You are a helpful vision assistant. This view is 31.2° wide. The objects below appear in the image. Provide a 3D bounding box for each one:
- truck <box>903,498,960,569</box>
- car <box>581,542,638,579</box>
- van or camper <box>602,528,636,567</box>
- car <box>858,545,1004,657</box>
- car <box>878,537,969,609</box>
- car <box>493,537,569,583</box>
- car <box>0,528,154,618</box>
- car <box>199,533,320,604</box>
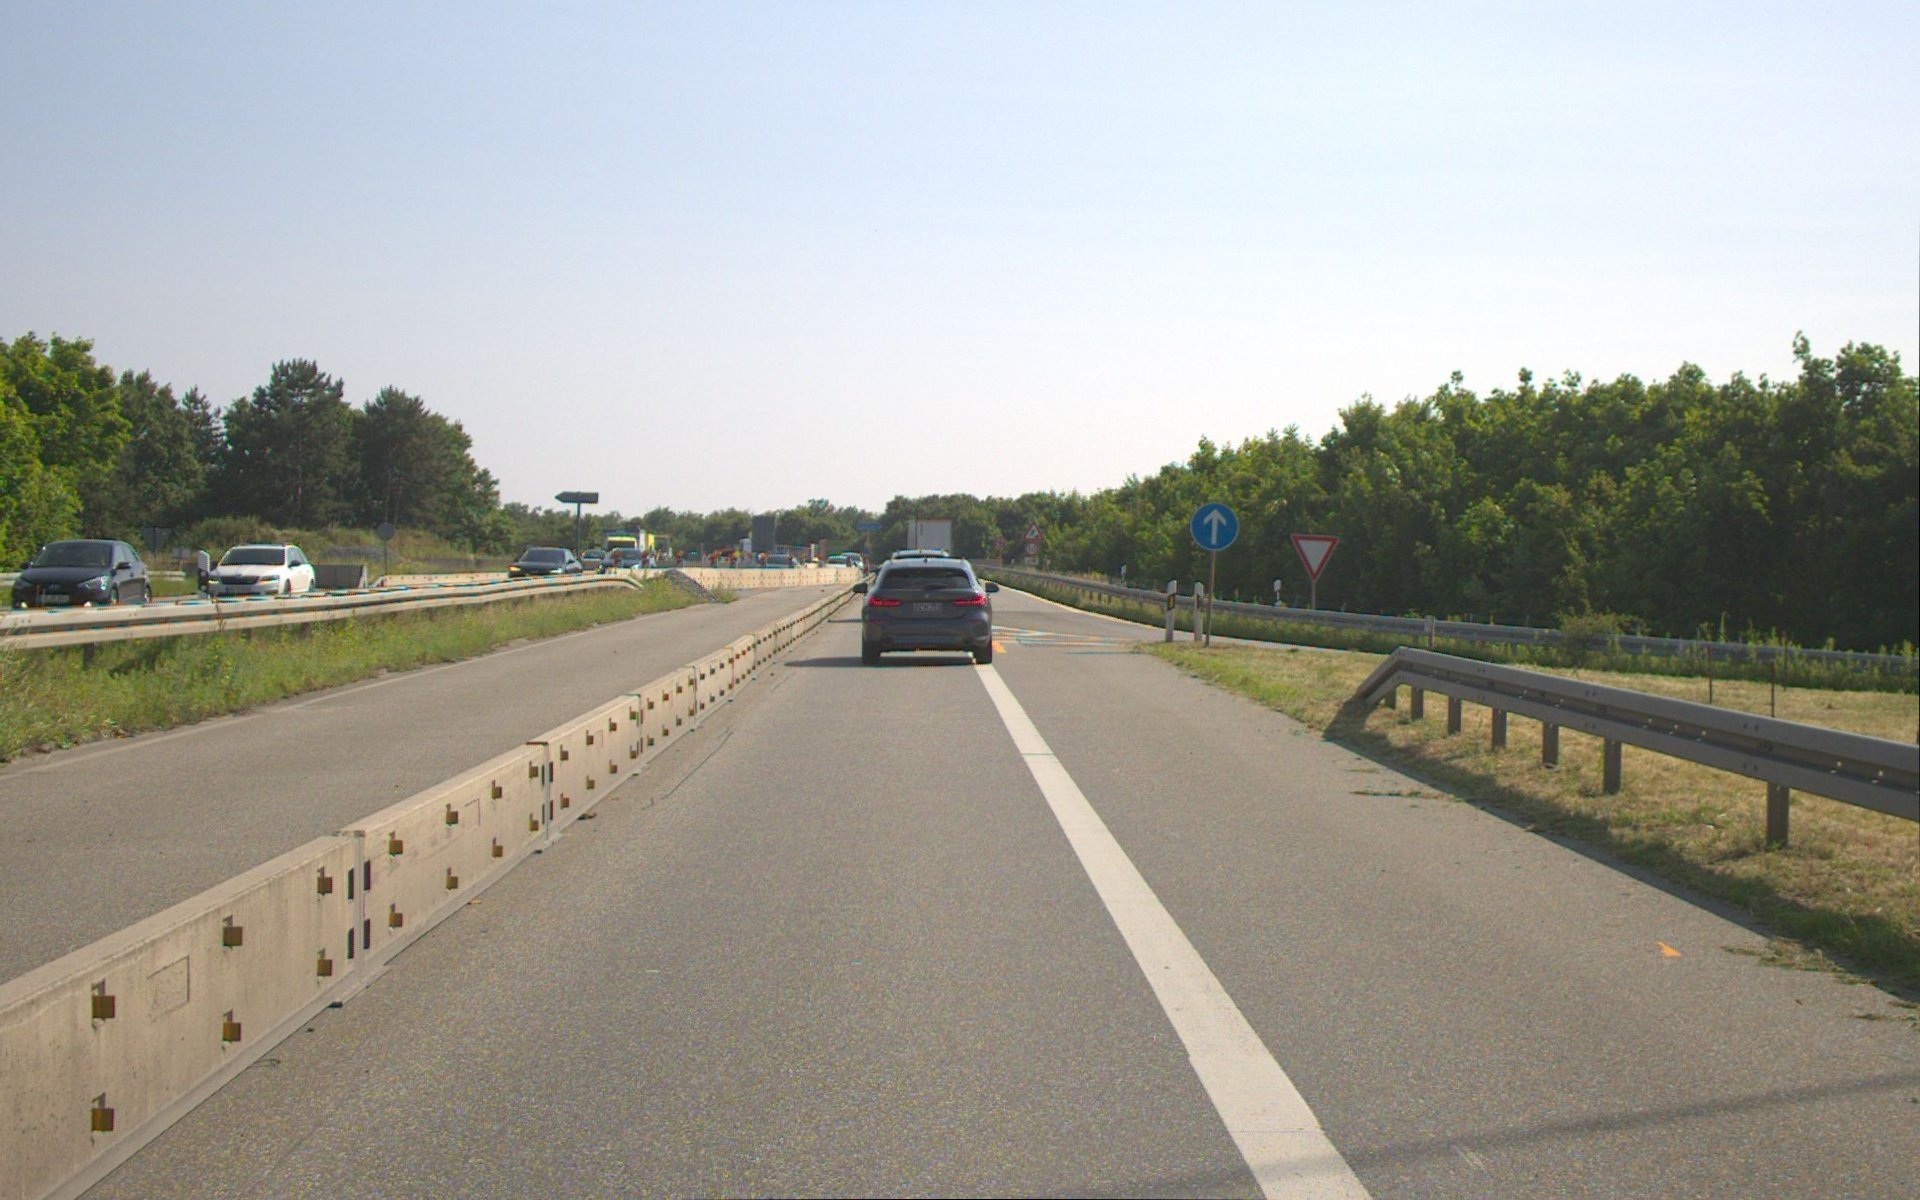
[{"bbox_3d":[-2.096,-4.739,246.477,3.761,4.894,14.138,1,1,-1],"label":"truck"},{"bbox_3d":[-14.111,-1.599,138.653,1.797,1.429,4.592,1,1,0],"label":"car"},{"bbox_3d":[-21.412,-3.307,215.851,1.993,2.369,6.203,-2,1,-7],"label":"van or camper"},{"bbox_3d":[-0.447,-0.023,47.841,1.920,1.488,4.000,0,1,-2],"label":"car"},{"bbox_3d":[-0.825,-0.638,78.548,1.993,1.561,4.000,1,1,0],"label":"car"},{"bbox_3d":[-14.494,-1.360,116.403,1.816,1.483,5.023,-1,1,1],"label":"car"},{"bbox_3d":[-15.499,-0.488,60.458,1.738,1.489,4.110,1,1,-1],"label":"car"},{"bbox_3d":[-15.499,-0.715,76.273,1.760,1.465,4.795,2,1,-1],"label":"car"}]
